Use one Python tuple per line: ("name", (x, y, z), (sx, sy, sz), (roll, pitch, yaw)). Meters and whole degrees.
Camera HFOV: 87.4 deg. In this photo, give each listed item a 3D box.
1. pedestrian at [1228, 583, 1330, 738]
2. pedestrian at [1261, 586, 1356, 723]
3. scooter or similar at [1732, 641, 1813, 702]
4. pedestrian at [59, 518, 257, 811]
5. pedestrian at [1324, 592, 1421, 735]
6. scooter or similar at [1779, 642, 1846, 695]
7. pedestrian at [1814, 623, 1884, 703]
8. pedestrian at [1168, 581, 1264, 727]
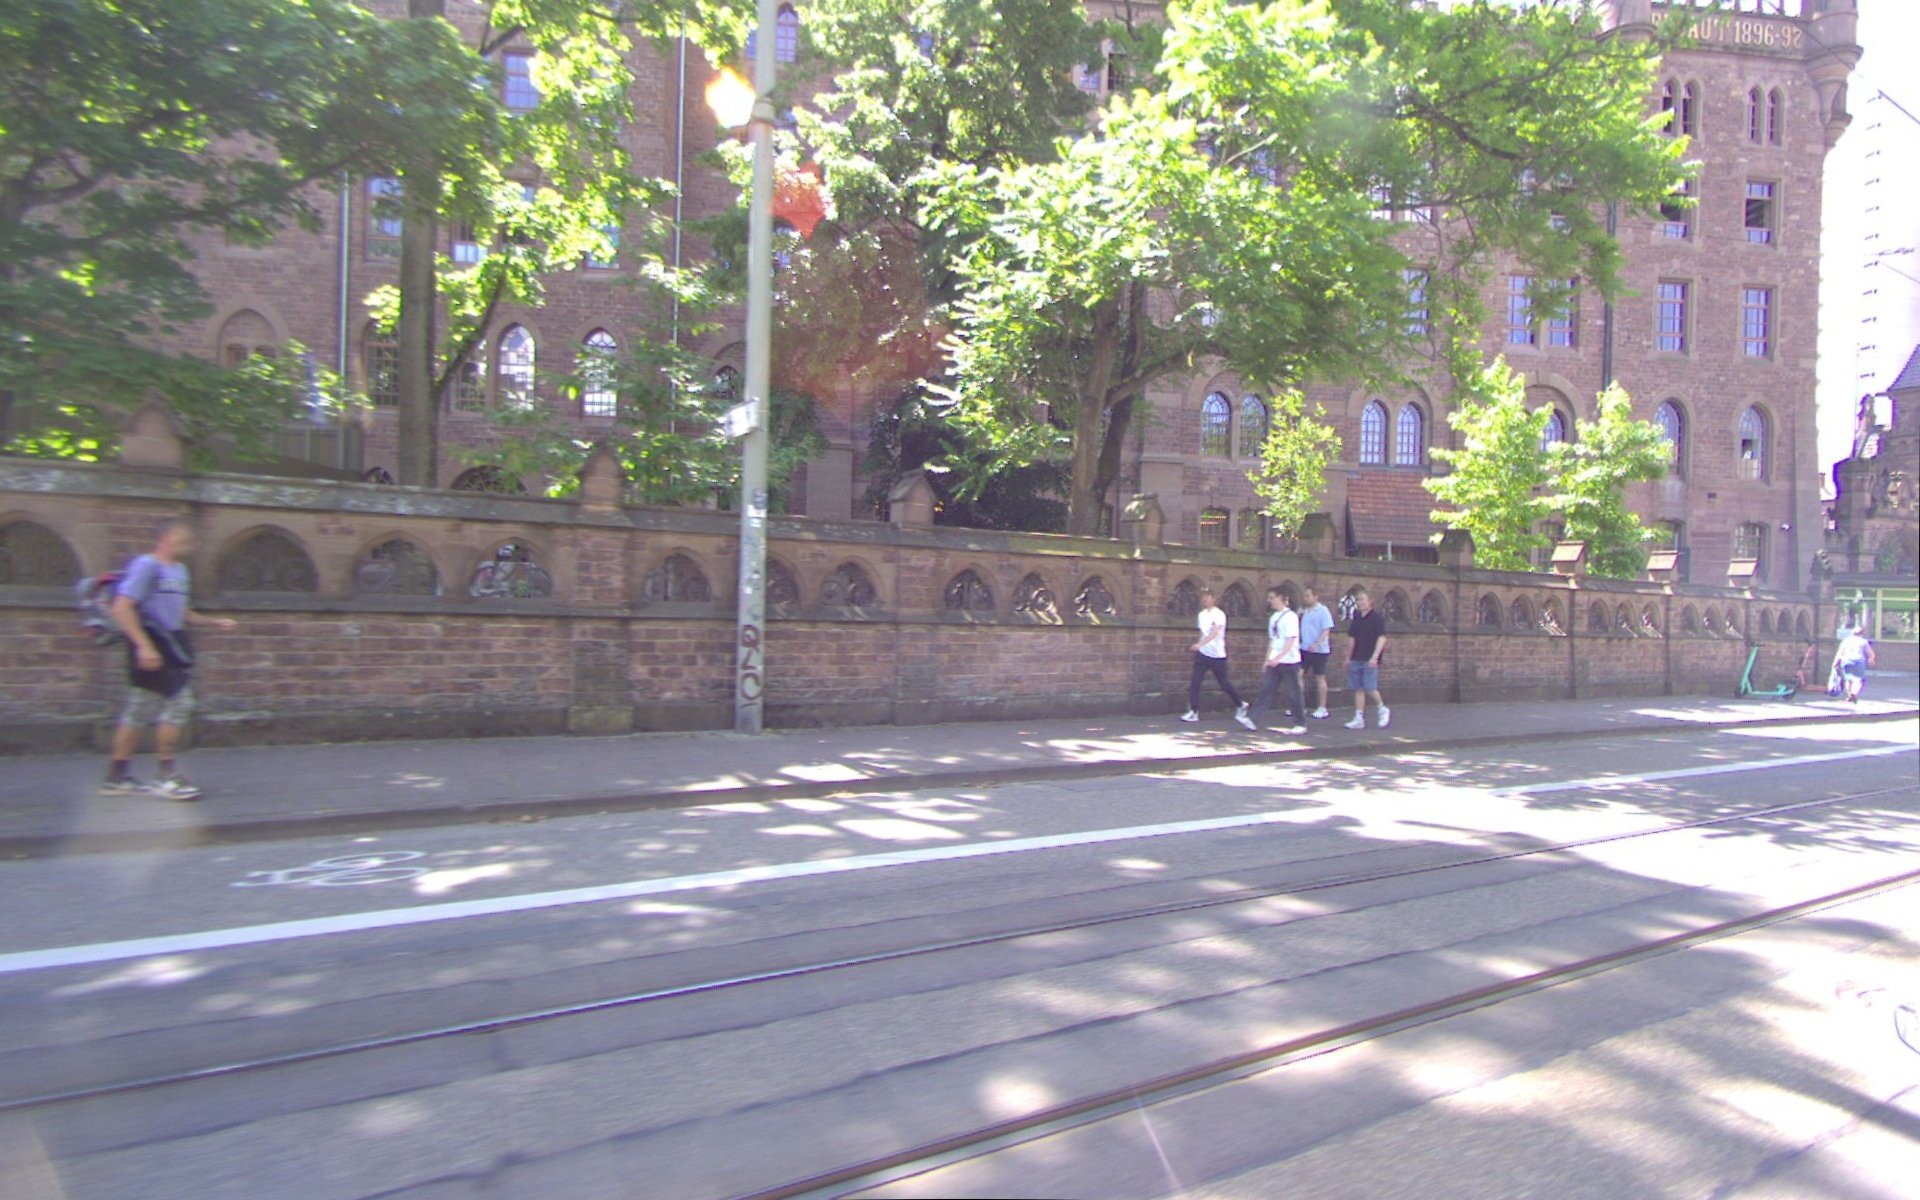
("pedestrian", (3.925, 0.720, 12.366), (0.909, 1.814, 0.674), (1, 3, -30))
("pedestrian", (4.822, 0.732, 13.912), (0.908, 1.800, 0.749), (1, 3, -30))
("scooter or similar", (16.698, 1.467, 20.656), (1.200, 1.142, 0.349), (4, 1, 14))
("pedestrian", (-5.340, 0.396, 6.750), (0.908, 1.816, 0.718), (1, 3, -30))
("pedestrian", (5.407, 0.810, 13.186), (0.909, 1.772, 0.674), (1, 3, -30))
("scooter or similar", (19.387, 1.563, 22.846), (1.199, 1.142, 0.329), (2, 1, -1))
("pedestrian", (18.953, 1.320, 21.418), (0.908, 1.610, 0.795), (1, 3, -30))
("pedestrian", (3.333, 0.687, 13.105), (0.909, 1.800, 0.674), (1, 3, -30))
